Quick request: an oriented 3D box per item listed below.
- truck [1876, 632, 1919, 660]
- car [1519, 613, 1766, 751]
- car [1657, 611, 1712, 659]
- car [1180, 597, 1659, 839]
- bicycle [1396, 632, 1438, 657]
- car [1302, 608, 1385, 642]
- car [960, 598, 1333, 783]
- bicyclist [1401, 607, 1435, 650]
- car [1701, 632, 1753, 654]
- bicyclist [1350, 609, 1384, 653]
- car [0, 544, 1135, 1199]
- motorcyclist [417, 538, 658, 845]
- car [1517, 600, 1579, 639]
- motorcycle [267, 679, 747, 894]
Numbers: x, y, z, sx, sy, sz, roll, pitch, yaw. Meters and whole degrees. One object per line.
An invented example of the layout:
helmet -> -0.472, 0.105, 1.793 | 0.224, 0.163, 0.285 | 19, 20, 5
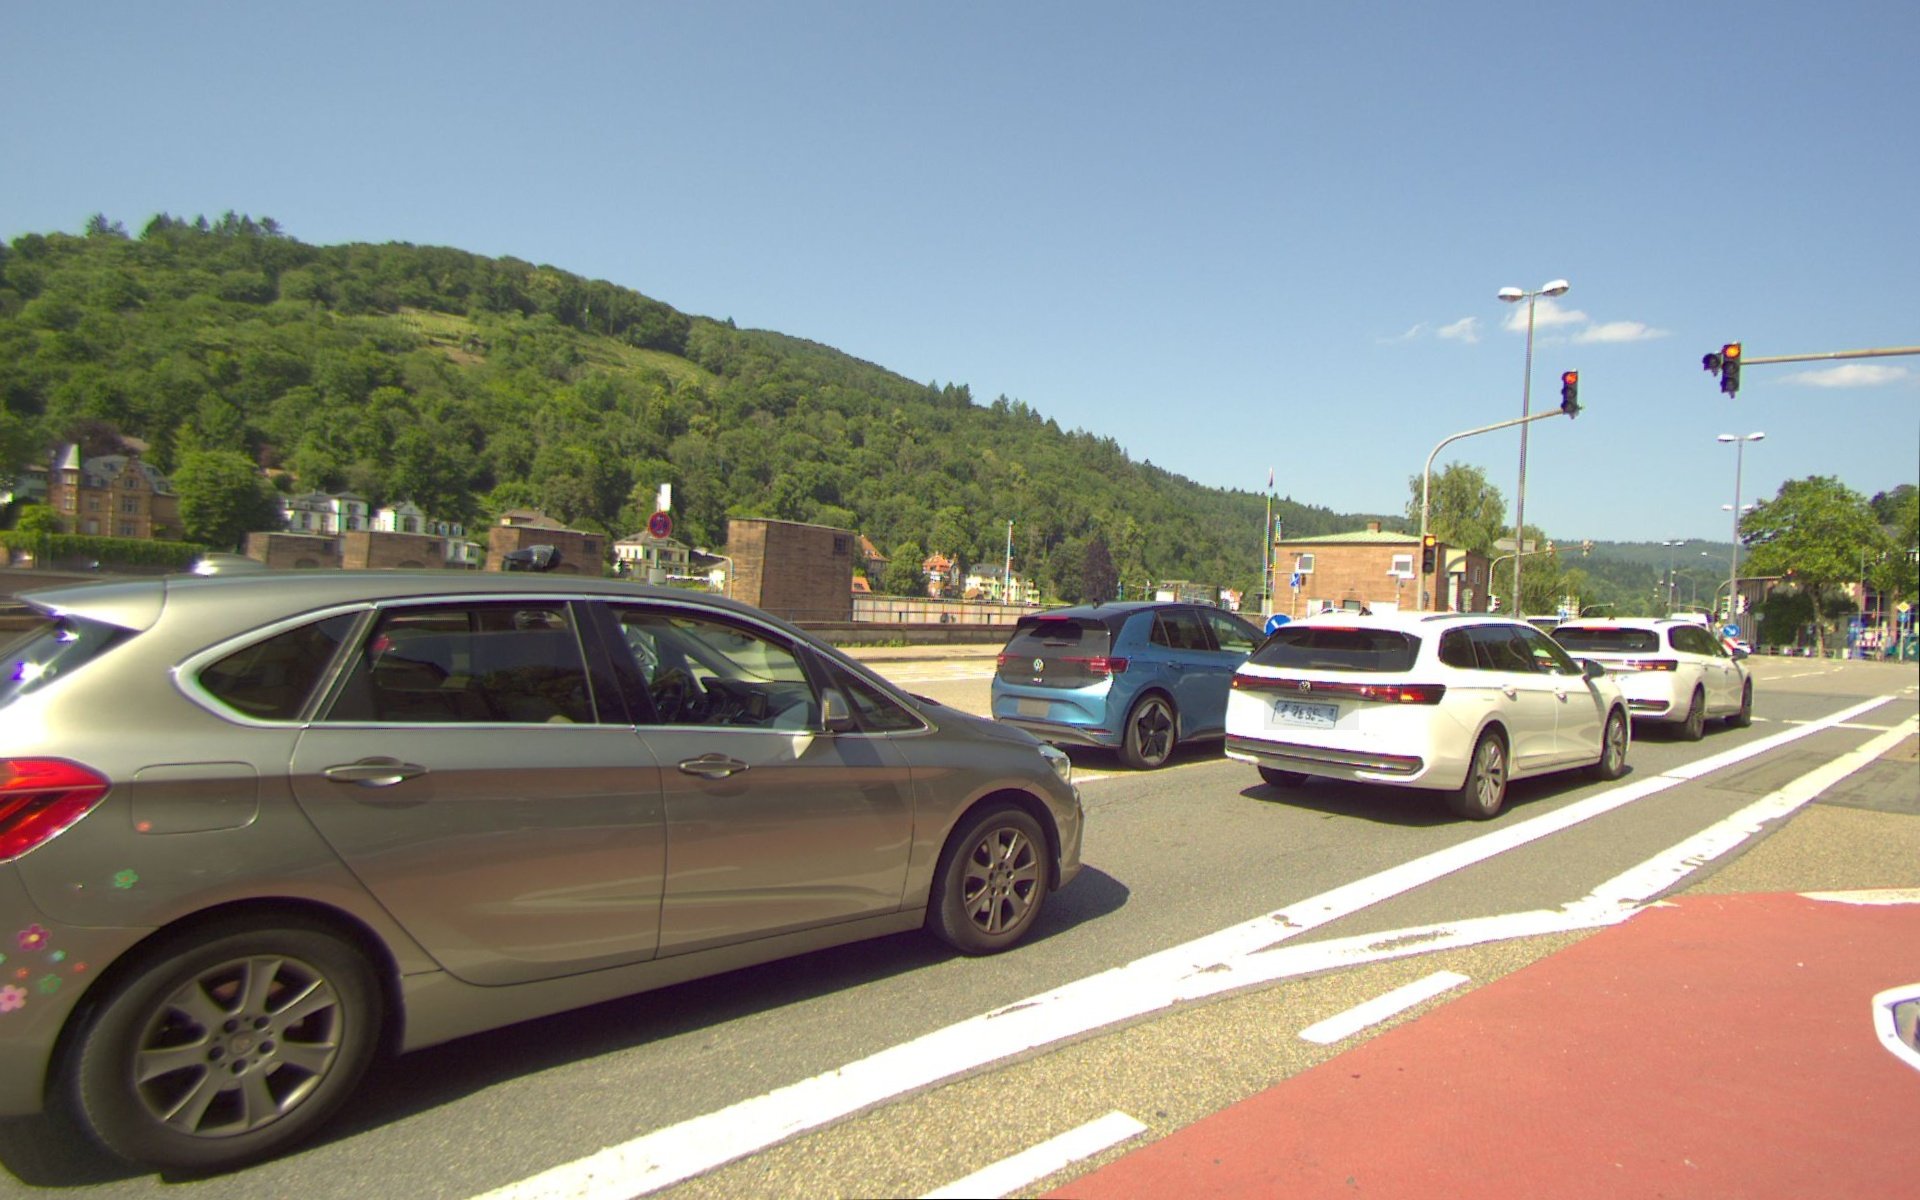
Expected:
truck -> 73.085, 3.508, 75.911 | 2.121, 2.040, 6.273 | 1, 0, 2
car -> 9.405, 0.992, 13.661 | 4.703, 1.552, 1.769 | 2, -1, -43
car -> 41.675, 1.961, 57.887 | 2.351, 2.610, 6.037 | 0, -1, 34
car -> 4.217, 0.791, 8.794 | 4.819, 1.554, 1.977 | 1, 0, -40
bicycle -> 21.962, 2.109, 48.269 | 1.198, 1.105, 2.585 | 1, -1, 40
car -> 24.281, 1.549, 63.742 | 4.524, 2.040, 2.001 | 1, 0, 9
car -> 2.088, 0.801, 10.637 | 3.969, 1.583, 1.850 | 1, 0, -41
bicyclist -> 22.006, 1.368, 48.294 | 1.198, 2.040, 1.113 | 1, 0, 41
car -> 77.110, 4.274, 101.048 | 1.906, 2.040, 3.997 | 1, -1, -5
bicyclist -> 19.320, 1.465, 47.643 | 1.198, 2.040, 1.113 | 0, -1, 41
car -> -1.425, 0.677, 4.058 | 4.269, 1.541, 1.873 | 2, 0, -39
motorcyclist -> -2.683, 0.515, 6.361 | 1.146, 1.707, 1.067 | 1, 0, -39
car -> 33.511, 1.111, 57.172 | 2.188, 2.106, 5.018 | 1, -1, 41
motorcycle -> -2.745, 1.040, 6.314 | 2.583, 0.932, 1.029 | 1, 0, -40
